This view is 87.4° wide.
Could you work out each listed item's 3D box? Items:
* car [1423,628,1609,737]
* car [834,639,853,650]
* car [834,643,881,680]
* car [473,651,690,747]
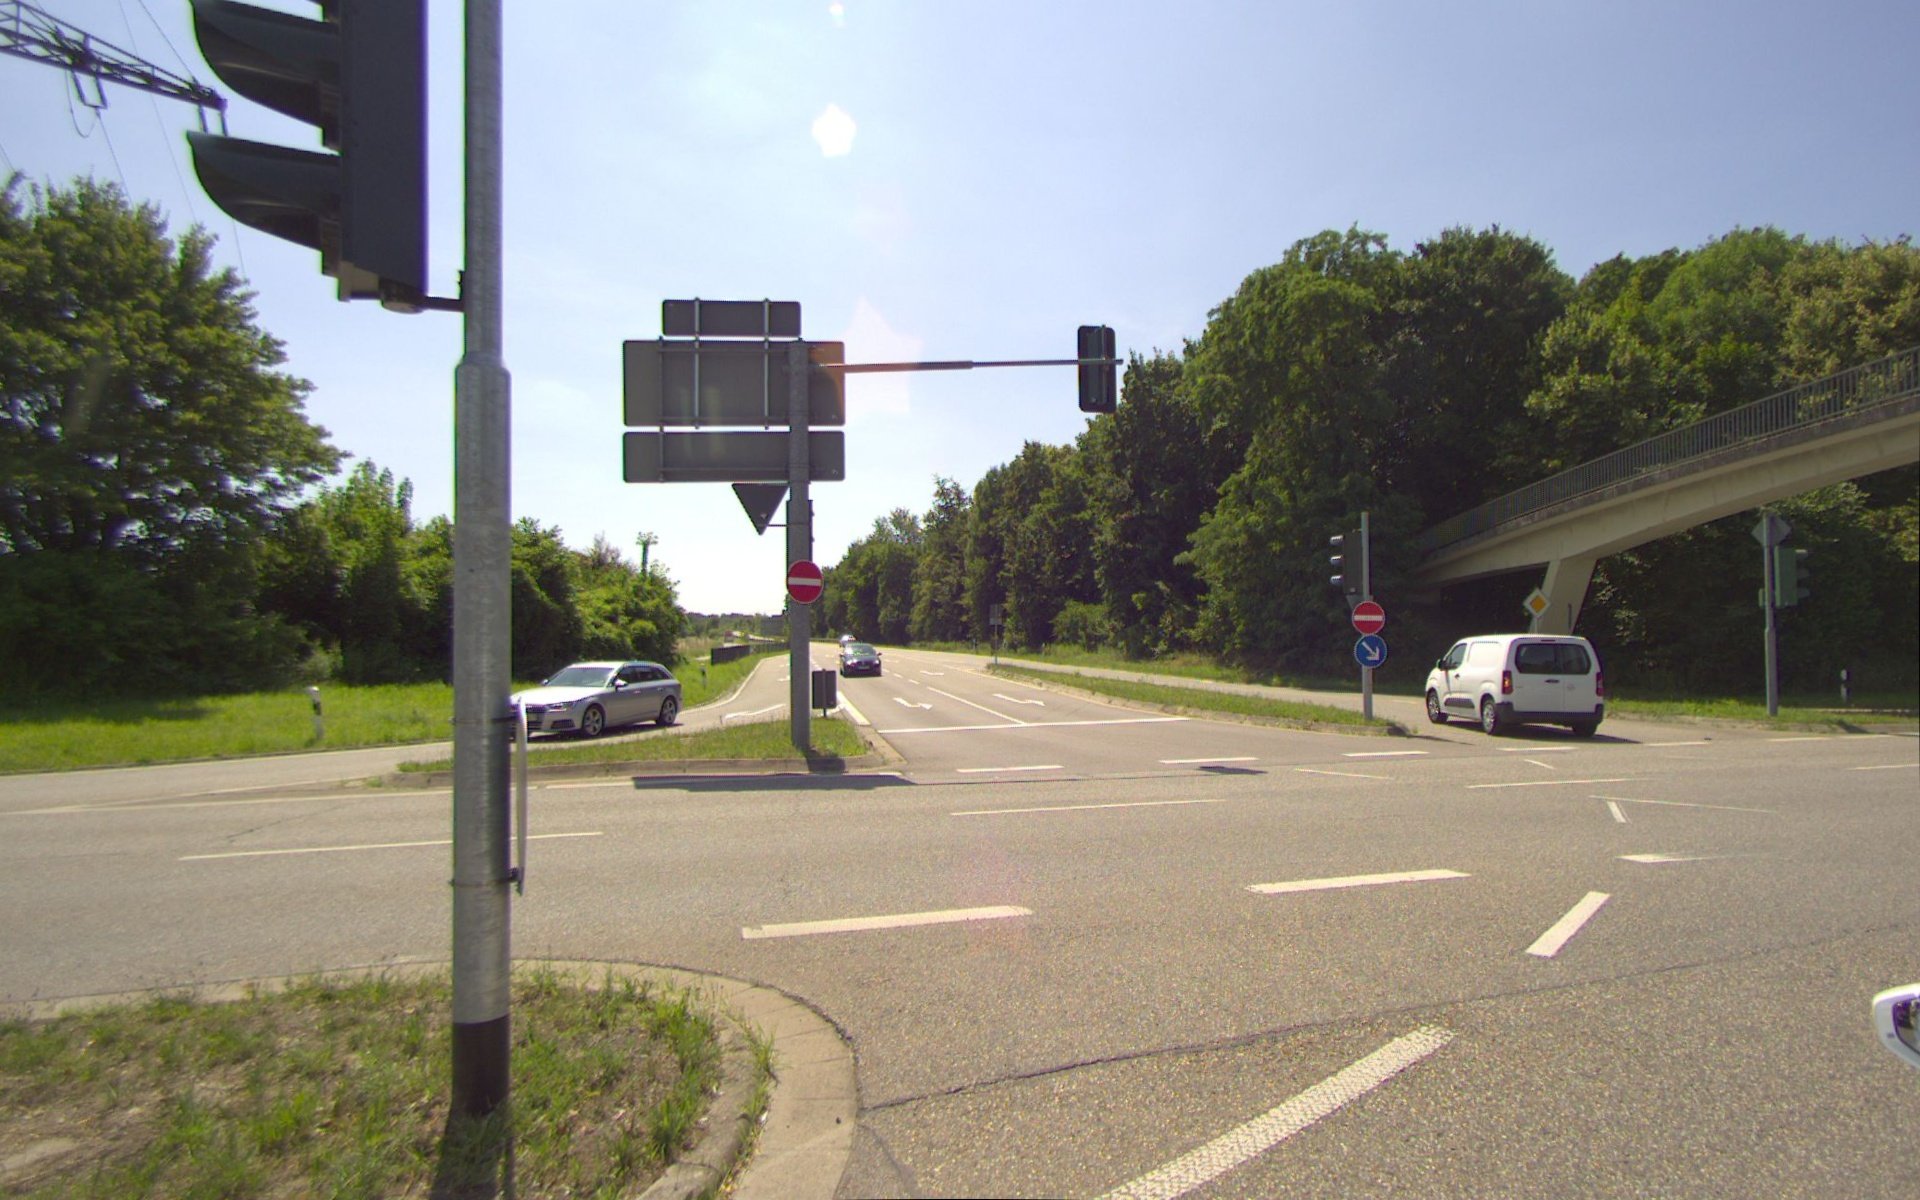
[{"bbox_3d":[10.476,1.494,19.272,1.817,1.849,3.984,0,-2,8],"label":"car"},{"bbox_3d":[-14.758,5.643,127.212,1.965,1.391,4.772,0,-3,-12],"label":"car"},{"bbox_3d":[-4.867,2.837,47.065,1.710,1.552,4.159,-3,-2,-12],"label":"car"},{"bbox_3d":[-7.633,1.954,20.832,2.007,1.596,4.669,-3,-2,11],"label":"car"}]
